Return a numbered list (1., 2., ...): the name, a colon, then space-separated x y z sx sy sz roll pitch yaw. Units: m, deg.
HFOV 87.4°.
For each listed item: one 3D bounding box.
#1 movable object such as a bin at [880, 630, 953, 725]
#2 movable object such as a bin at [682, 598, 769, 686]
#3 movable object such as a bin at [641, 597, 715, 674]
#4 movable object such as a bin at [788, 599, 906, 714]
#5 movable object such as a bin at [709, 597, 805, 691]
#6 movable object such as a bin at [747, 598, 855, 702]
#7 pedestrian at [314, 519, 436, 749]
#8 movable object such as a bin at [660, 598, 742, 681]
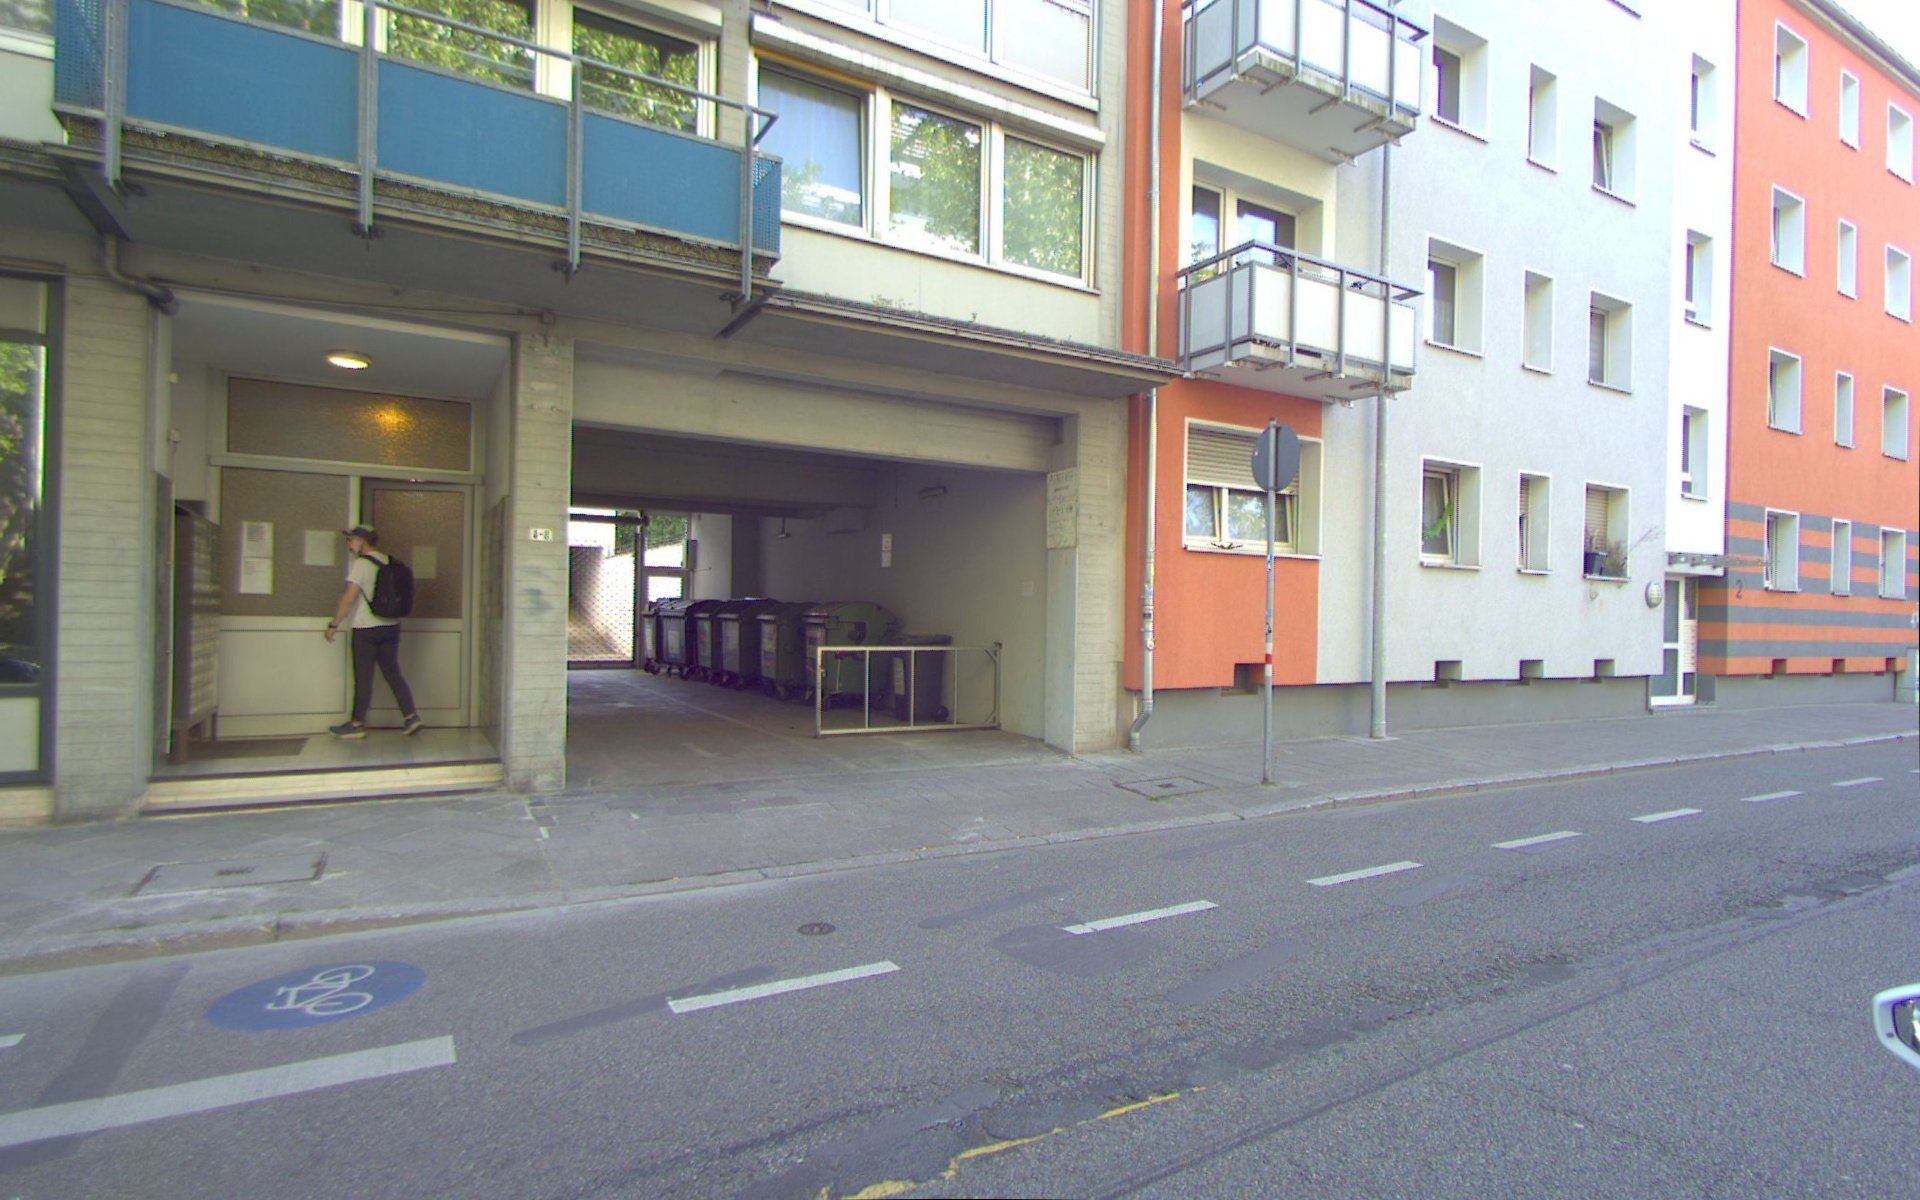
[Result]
1. movable object such as a bin: -0.538 0.945 12.409 0.745 1.116 0.463 2 0 -30
2. movable object such as a bin: -4.143 0.725 17.709 1.186 1.467 1.114 2 0 -30
3. movable object such as a bin: -5.618 0.691 19.981 1.186 1.467 1.027 2 0 -30
4. movable object such as a bin: -1.566 0.745 13.800 1.159 1.467 1.319 2 0 -30
5. movable object such as a bin: -3.373 0.704 16.618 1.186 1.467 1.319 2 0 -30
6. movable object such as a bin: -2.406 0.726 15.134 1.186 1.467 1.319 2 0 -30
7. pedestrian: -5.055 0.295 8.719 0.775 1.904 0.579 2 0 -20
8. movable object such as a bin: -4.843 0.726 18.752 1.186 1.467 1.222 2 0 -30
